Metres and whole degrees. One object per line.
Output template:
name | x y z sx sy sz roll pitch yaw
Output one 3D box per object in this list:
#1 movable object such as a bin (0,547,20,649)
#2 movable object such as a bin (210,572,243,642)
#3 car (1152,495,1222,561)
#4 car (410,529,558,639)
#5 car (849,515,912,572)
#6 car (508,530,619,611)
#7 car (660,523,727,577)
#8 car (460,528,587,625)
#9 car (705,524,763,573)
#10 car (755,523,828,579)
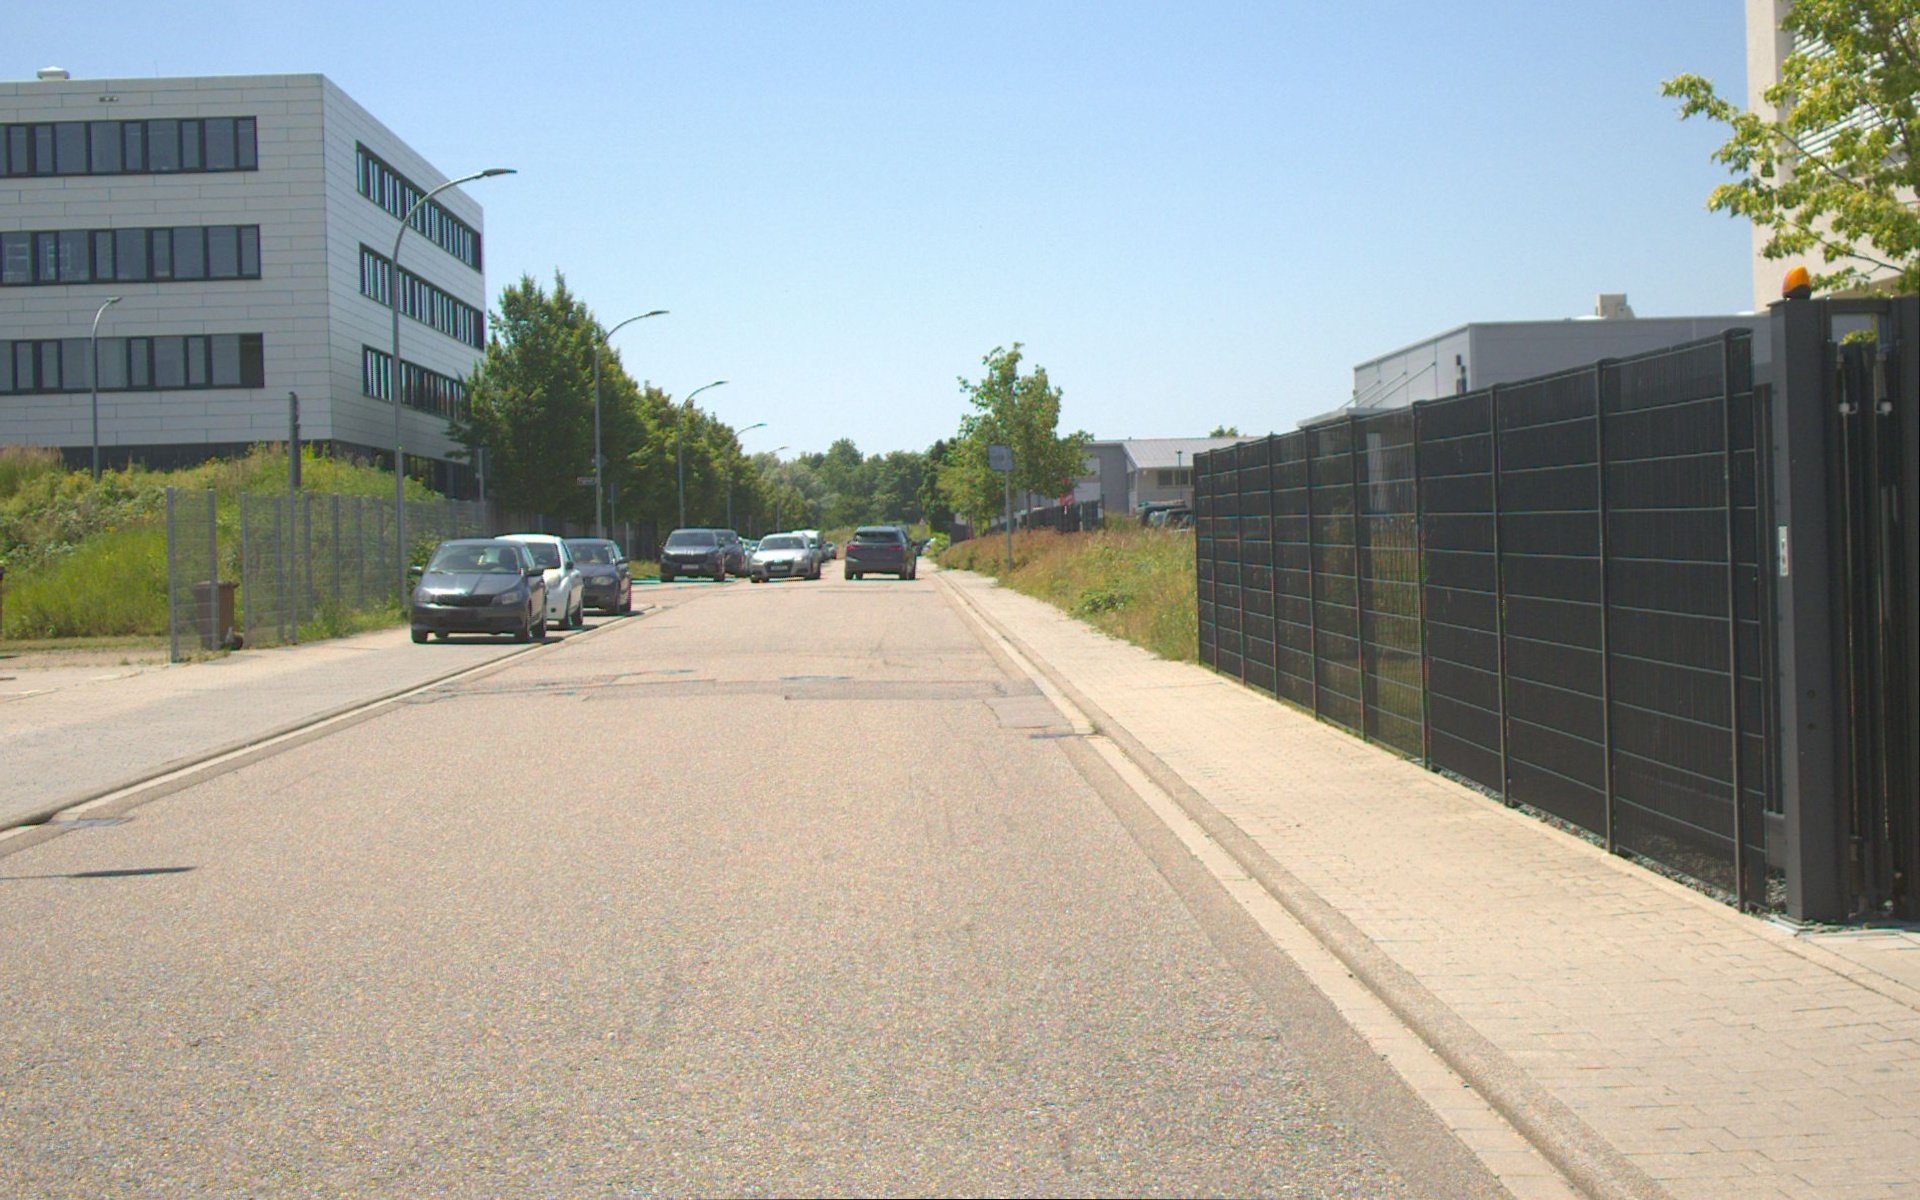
movable object such as a bin | -13.740 -0.027 47.365 1.142 1.400 1.388 -1 1 1
movable object such as a bin | -9.934 0.087 46.558 0.304 0.937 0.496 -1 1 1
car | 5.651 -1.787 85.894 1.466 1.568 2.662 -2 1 -1
car | -6.901 -0.251 50.151 1.674 1.525 3.910 -1 1 -1
car | -2.329 -1.659 101.022 1.789 1.618 3.809 1 1 -1
car | -7.452 -0.571 64.896 1.674 1.445 4.069 -1 1 -1
car | -8.120 -1.523 104.931 1.771 1.582 4.481 -1 1 -1
car | -7.159 -0.399 56.697 1.674 1.525 3.758 -1 1 -1
car | -7.725 -1.761 117.744 1.770 1.618 4.582 -1 1 -1
car | -5.030 -1.465 103.043 1.771 1.582 4.076 -1 1 2
